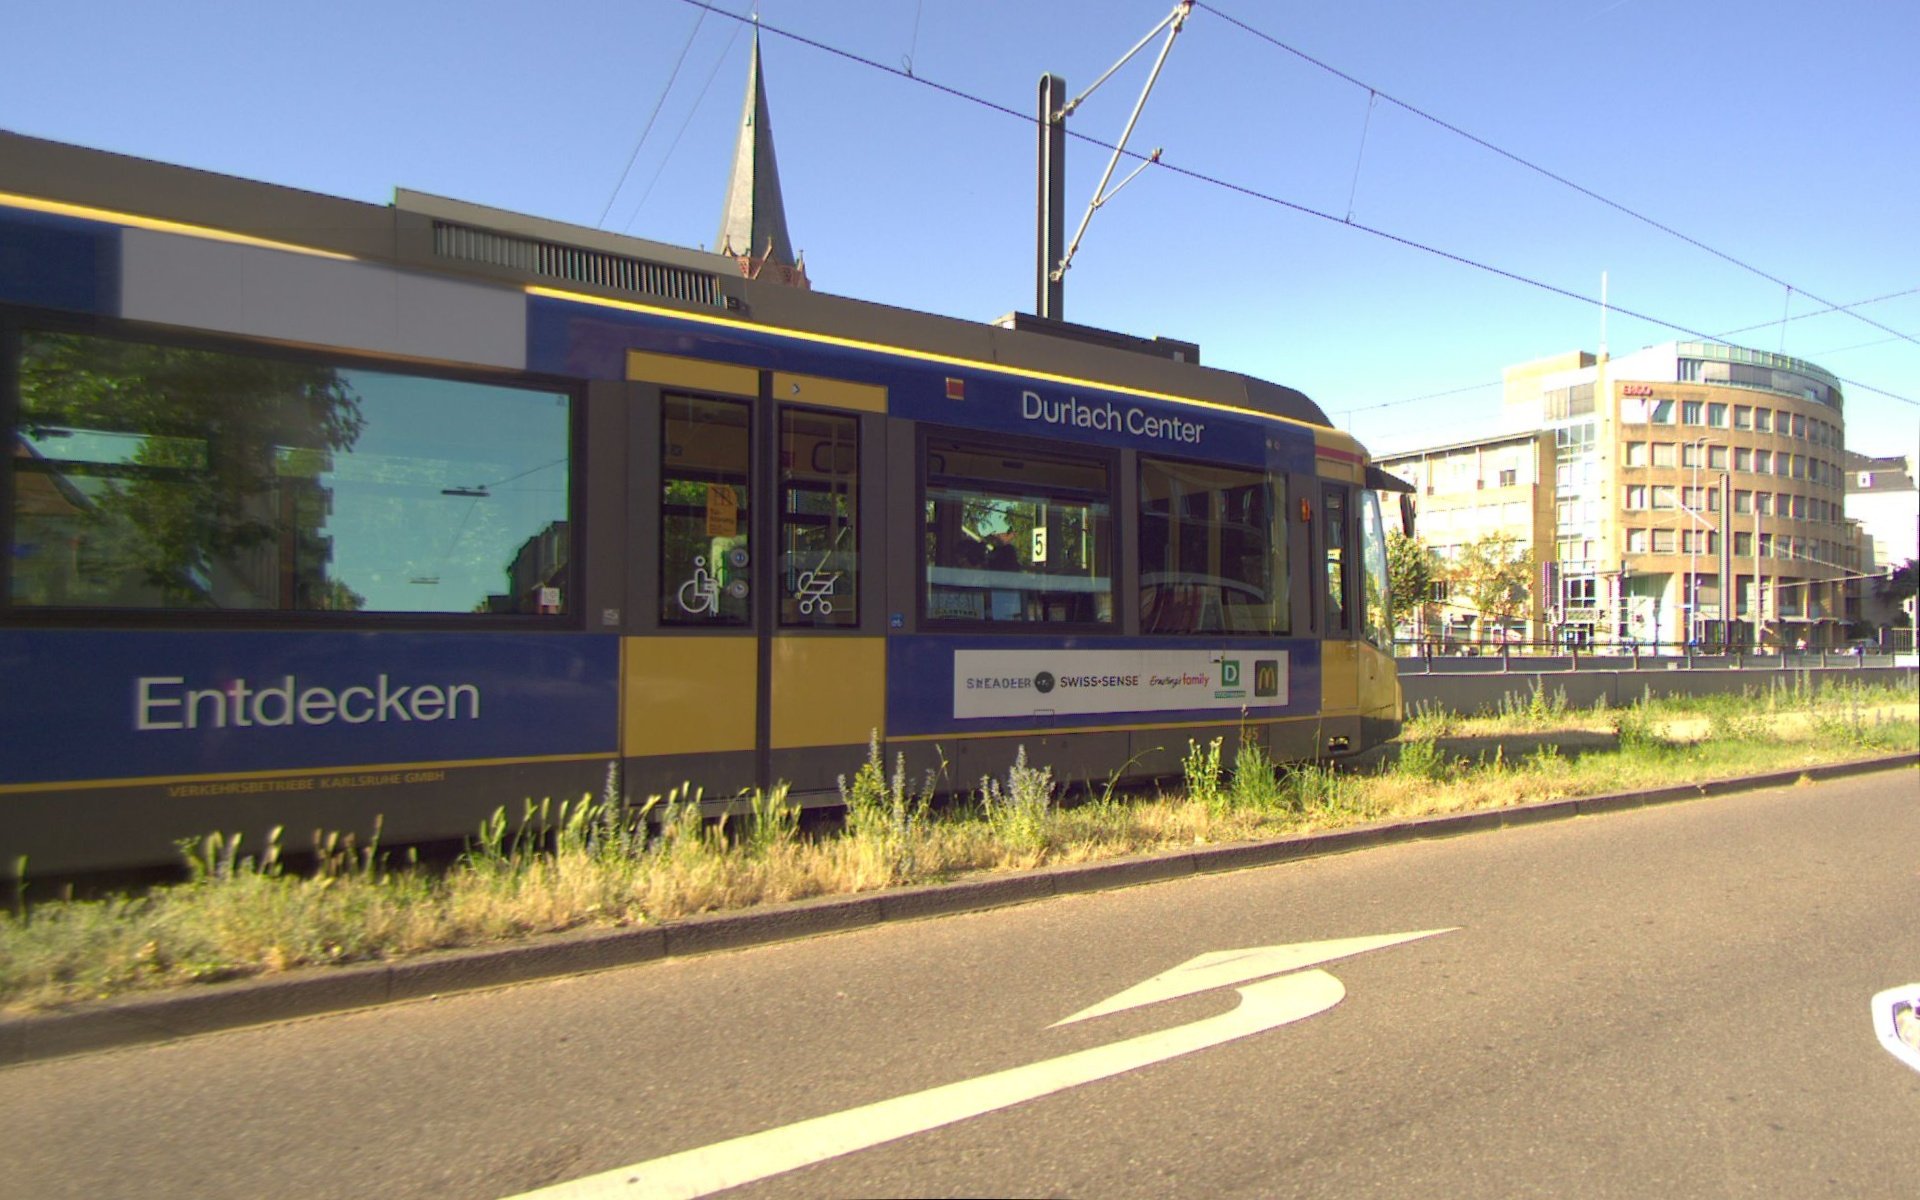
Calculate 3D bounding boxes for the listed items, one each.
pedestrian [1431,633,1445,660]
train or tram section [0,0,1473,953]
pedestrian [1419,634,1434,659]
[{"bbox_3d":[28.372,2.752,59.636,0.561,1.551,0.440,2,0,-30],"label":"pedestrian"},{"bbox_3d":[-0.765,-0.476,7.462,10.680,3.949,2.937,2,0,-31],"label":"train or tram section"},{"bbox_3d":[28.130,2.803,60.544,0.484,1.447,0.609,2,0,-30],"label":"pedestrian"}]
